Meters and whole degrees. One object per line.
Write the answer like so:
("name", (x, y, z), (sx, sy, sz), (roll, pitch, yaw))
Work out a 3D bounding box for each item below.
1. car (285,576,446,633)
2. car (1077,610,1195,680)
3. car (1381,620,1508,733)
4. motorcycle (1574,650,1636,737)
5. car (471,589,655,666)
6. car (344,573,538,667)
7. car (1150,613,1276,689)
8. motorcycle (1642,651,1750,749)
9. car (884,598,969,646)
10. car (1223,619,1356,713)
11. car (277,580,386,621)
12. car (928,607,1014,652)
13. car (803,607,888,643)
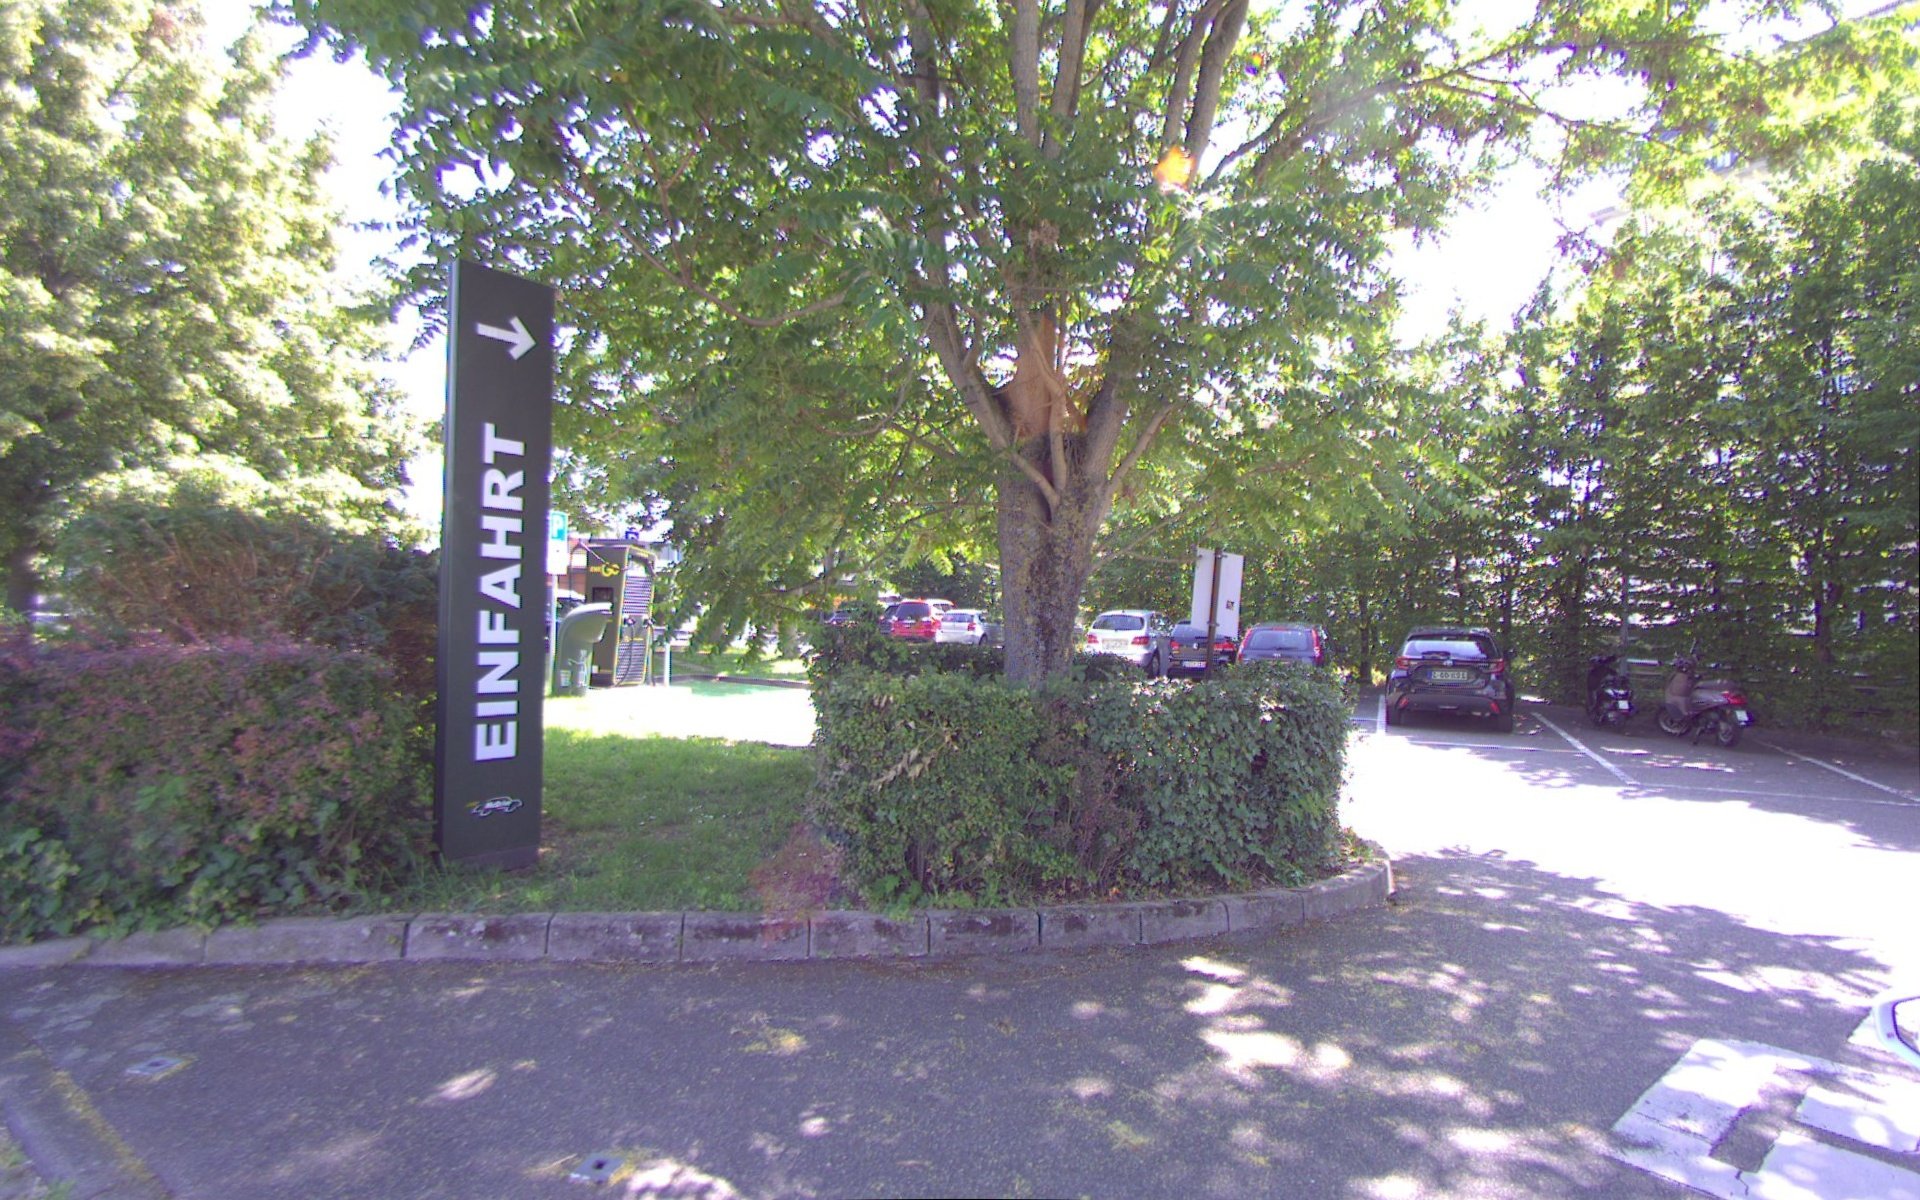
("car", (-19.578, 0.195, 33.295), (1.826, 1.708, 4.311), (2, -1, 23))
("car", (4.558, 1.065, 25.503), (1.742, 1.593, 3.993), (1, 0, 29))
("car", (7.776, 1.114, 16.204), (1.630, 1.489, 3.900), (1, 0, 25))
("motorcycle", (9.547, 1.347, 14.911), (0.465, 1.156, 1.605), (1, 0, 22))
("car", (-8.989, 0.600, 22.627), (4.298, 1.471, 1.856), (2, -2, 38))
("car", (-10.872, 0.389, 20.927), (4.298, 1.708, 1.856), (2, -2, 38))
("car", (5.818, 1.080, 22.778), (1.743, 1.489, 3.992), (1, 0, 30))
("motorcycle", (9.872, 1.303, 13.530), (0.558, 1.184, 1.606), (1, -1, 12))
("car", (-1.226, 0.813, 38.481), (1.740, 1.757, 3.998), (-1, -1, 22))
("car", (6.215, 1.123, 18.650), (1.673, 1.472, 3.994), (1, 0, 28))
("car", (-26.494, 0.014, 42.331), (4.063, 1.572, 1.920), (2, 0, 24))
("car", (0.449, 0.996, 35.397), (1.739, 1.495, 3.999), (1, 0, 21))
("car", (-4.675, 1.025, 41.588), (1.740, 1.407, 3.998), (1, -1, 23))
